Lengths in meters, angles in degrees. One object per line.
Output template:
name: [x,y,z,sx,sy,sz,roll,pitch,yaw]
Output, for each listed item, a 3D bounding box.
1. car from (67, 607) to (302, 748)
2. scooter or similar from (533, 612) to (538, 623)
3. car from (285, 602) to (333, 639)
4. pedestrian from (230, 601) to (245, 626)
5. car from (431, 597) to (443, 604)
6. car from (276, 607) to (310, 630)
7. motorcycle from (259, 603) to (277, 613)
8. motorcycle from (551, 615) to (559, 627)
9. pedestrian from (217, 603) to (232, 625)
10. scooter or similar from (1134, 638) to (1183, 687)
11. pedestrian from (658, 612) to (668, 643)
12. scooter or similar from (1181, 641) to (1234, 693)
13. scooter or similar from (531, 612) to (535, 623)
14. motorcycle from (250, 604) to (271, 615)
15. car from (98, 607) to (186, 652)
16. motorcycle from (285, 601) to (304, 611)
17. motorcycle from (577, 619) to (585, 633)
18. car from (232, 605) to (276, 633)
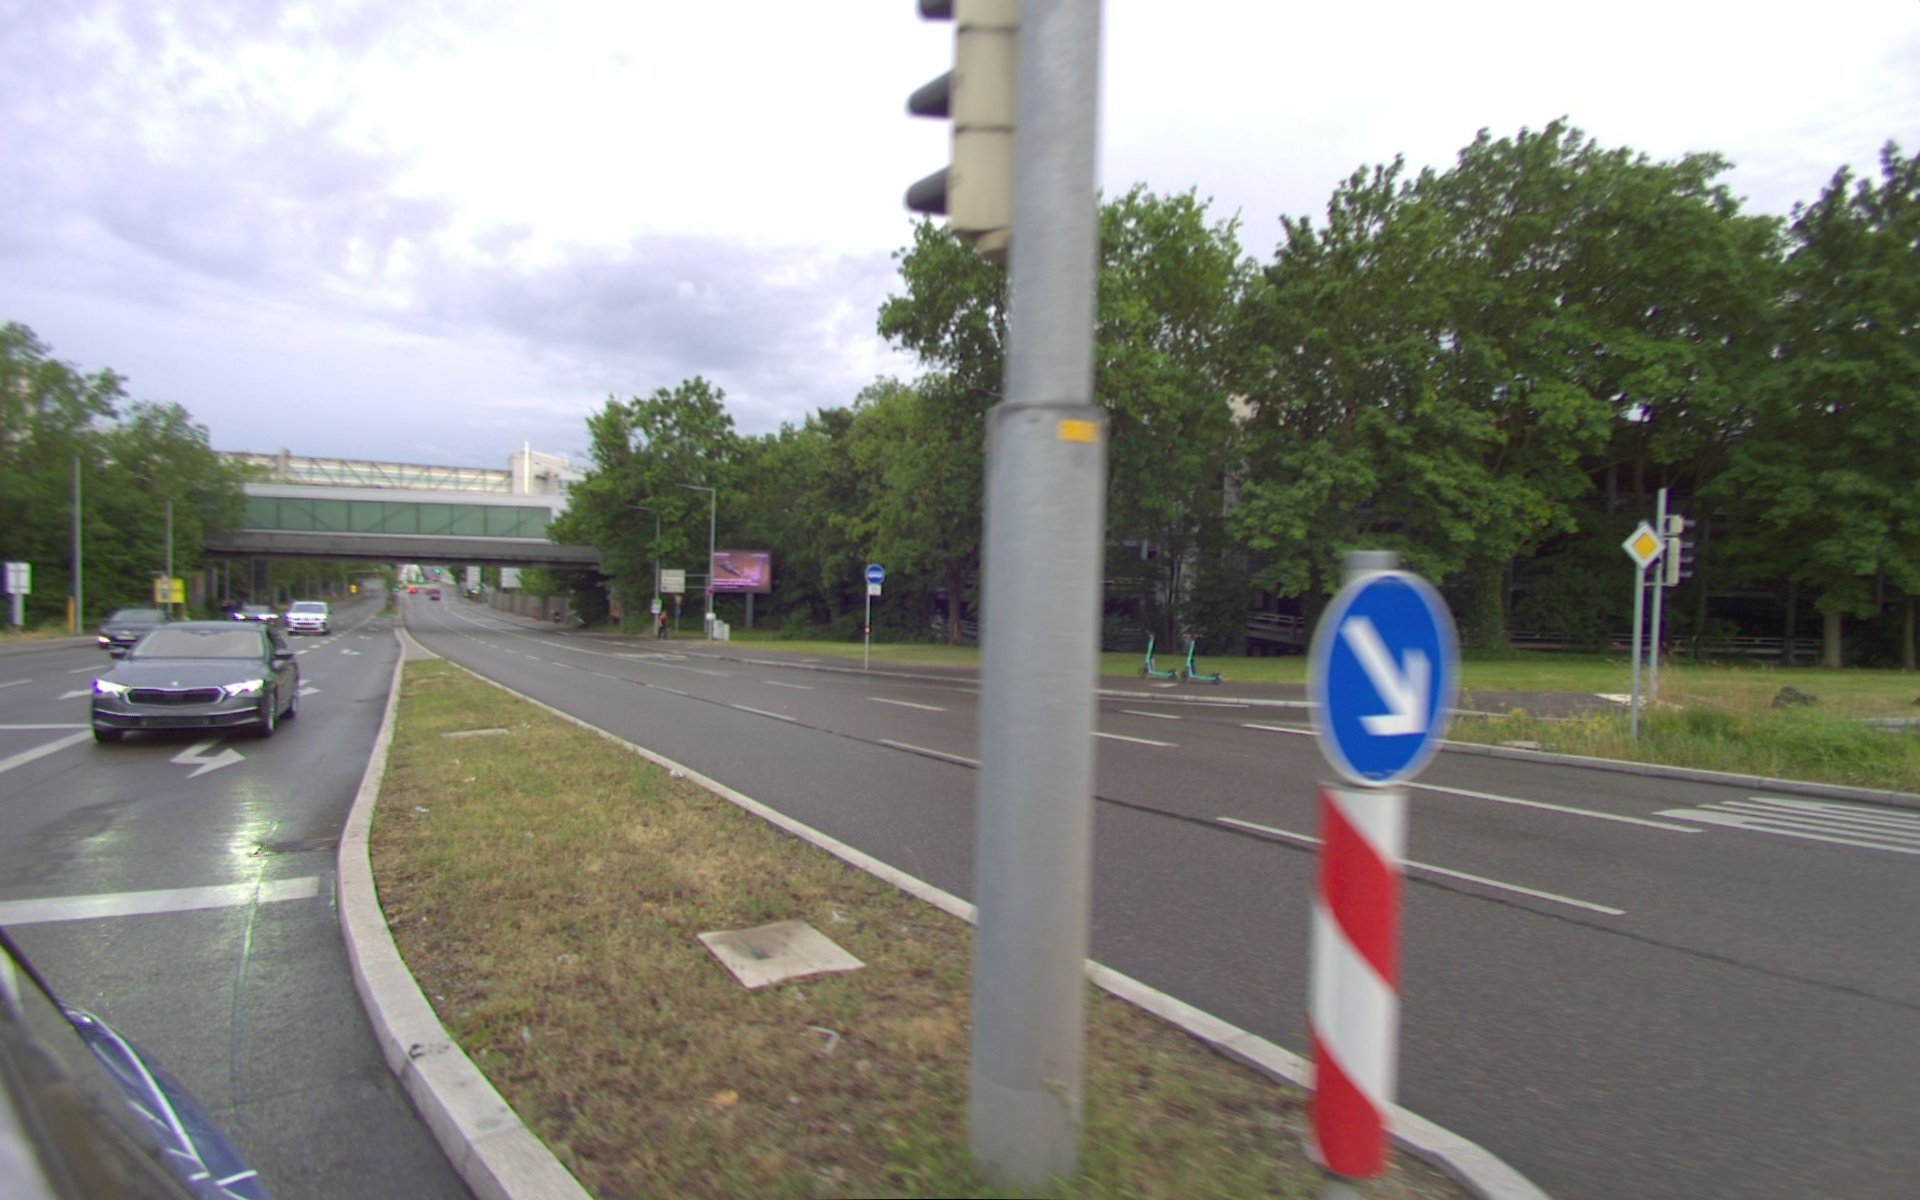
car: [-10.009,0.921,13.397,1.790,1.557,4.076,3,-2,-29]
scooter or similar: [-48.612,2.053,115.849,0.307,1.227,1.312,2,-1,-17]
car: [-37.417,1.142,58.242,2.001,1.945,4.346,1,0,-29]
pedestrian: [-51.956,0.978,72.813,0.602,1.734,0.894,2,-1,-19]
car: [-114.482,0.055,221.663,2.035,1.372,4.771,2,-1,-30]
car: [-50.518,1.369,76.729,1.790,1.591,4.346,1,0,-29]
motorcycle: [-81.755,0.916,119.558,1.630,1.159,0.495,0,1,-20]
motorcycle: [-39.728,2.056,99.196,0.462,1.214,2.003,2,-1,-29]
pedestrian: [-52.701,0.995,72.508,0.641,1.608,0.580,2,-1,-17]
scooter or similar: [5.137,1.608,26.192,0.307,1.227,1.309,2,-2,-42]
pedestrian: [-17.654,1.641,60.096,0.512,1.829,0.802,1,-1,-19]
scooter or similar: [6.043,1.619,24.751,0.307,1.227,1.309,2,-2,-42]
scooter or similar: [-49.767,2.040,118.013,0.307,1.227,1.312,2,-1,-28]
motorcycle: [-76.781,1.075,111.034,1.826,1.200,0.522,2,-1,-44]
car: [-30.203,1.045,37.491,1.720,1.441,4.532,1,1,-29]
motorcycle: [-90.428,0.873,137.516,1.981,1.282,0.443,3,-1,-16]
motorcycle: [-31.759,2.178,84.842,0.462,1.167,1.938,2,-1,-25]
car: [-45.128,1.219,64.730,1.795,1.602,4.346,1,0,-29]
